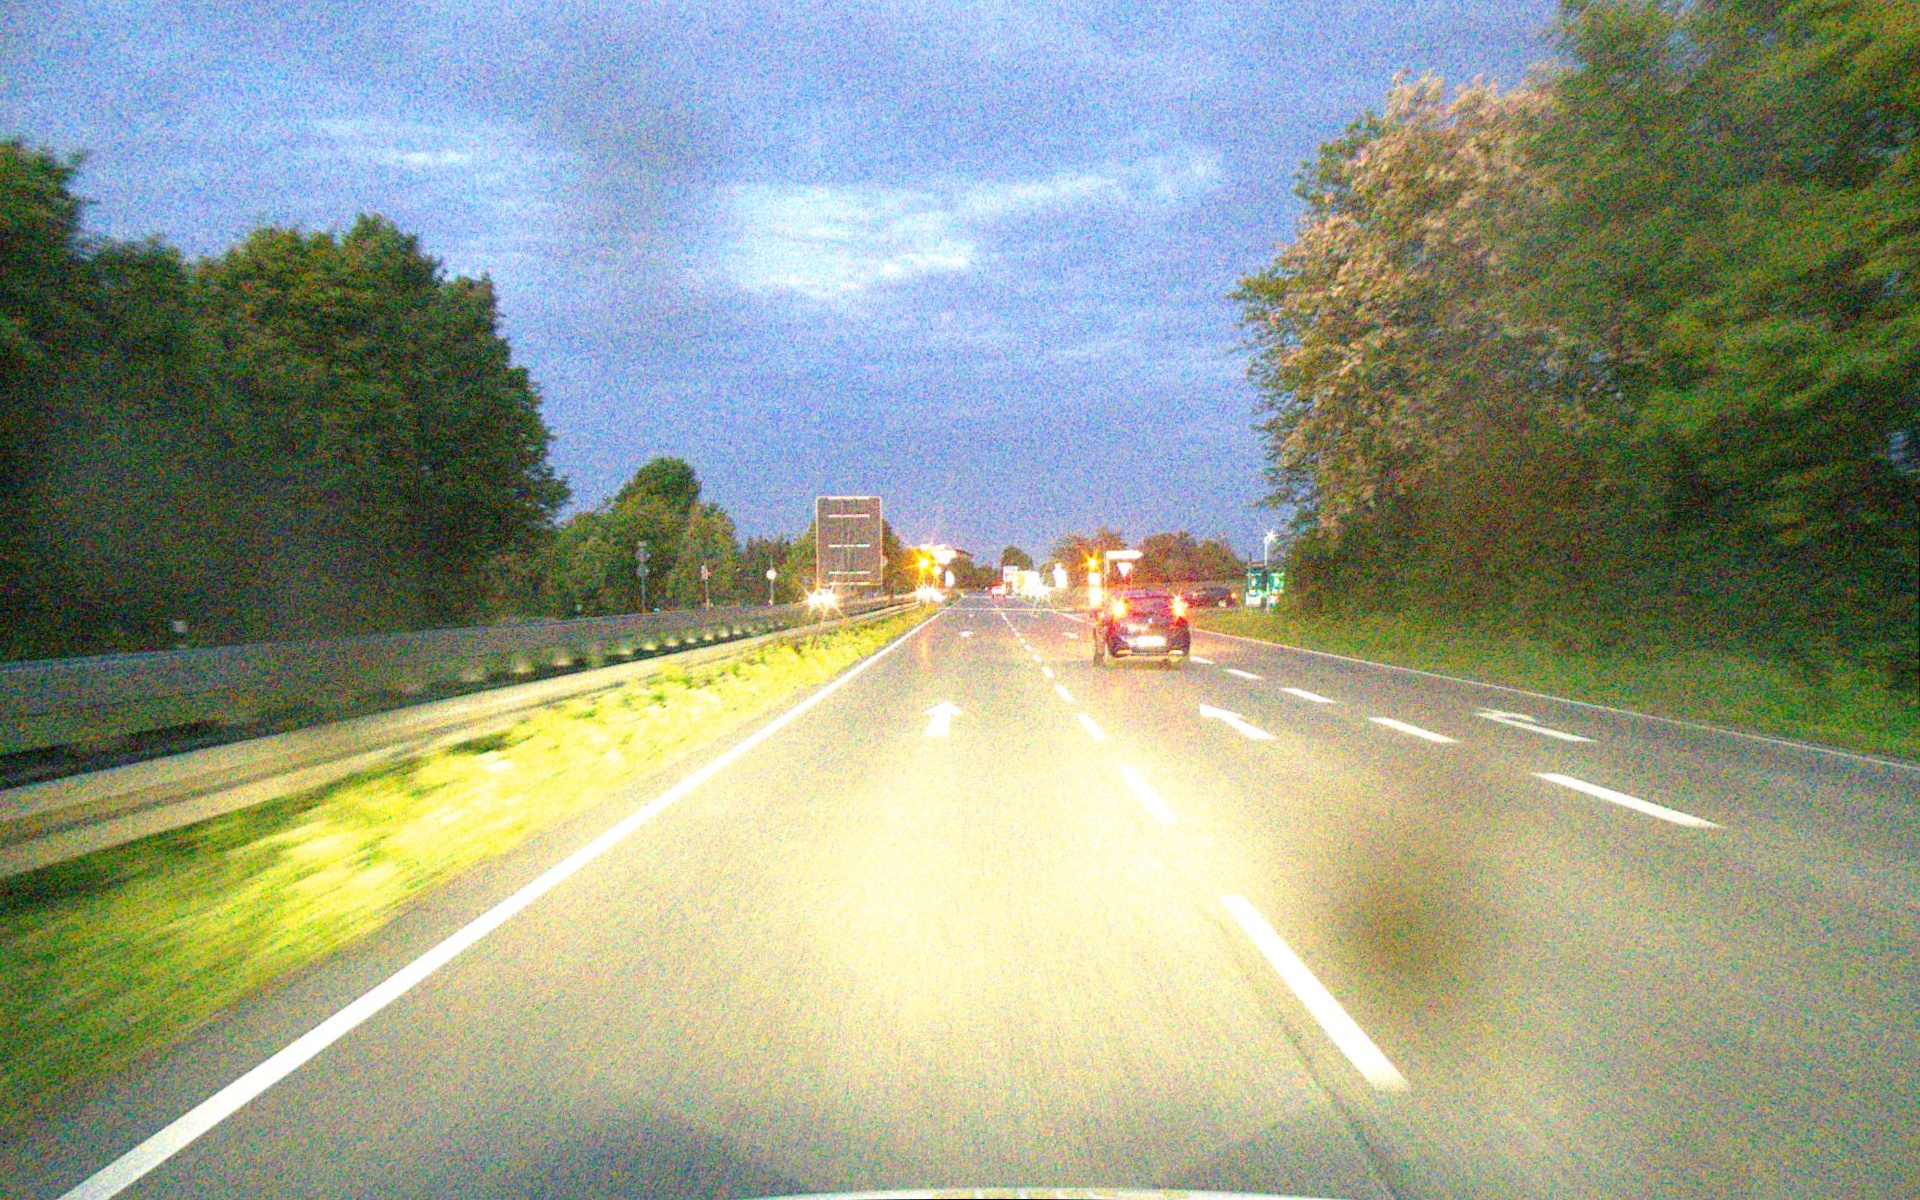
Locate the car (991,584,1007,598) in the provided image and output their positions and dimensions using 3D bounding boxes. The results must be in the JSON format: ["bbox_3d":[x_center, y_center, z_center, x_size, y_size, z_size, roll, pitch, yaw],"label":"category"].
[{"bbox_3d":[5.548,-1.260,234.994,1.953,1.780,3.999,-4,0,-1],"label":"car"}]

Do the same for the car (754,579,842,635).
[{"bbox_3d":[-4.859,0.212,50.150,1.953,1.478,4.735,-4,0,2],"label":"car"}]

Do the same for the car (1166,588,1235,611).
[{"bbox_3d":[16.651,-0.045,114.719,4.619,1.478,2.001,-1,0,4],"label":"car"}]

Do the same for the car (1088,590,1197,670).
[{"bbox_3d":[3.606,0.554,33.325,1.717,1.478,4.433,-1,0,0],"label":"car"}]
